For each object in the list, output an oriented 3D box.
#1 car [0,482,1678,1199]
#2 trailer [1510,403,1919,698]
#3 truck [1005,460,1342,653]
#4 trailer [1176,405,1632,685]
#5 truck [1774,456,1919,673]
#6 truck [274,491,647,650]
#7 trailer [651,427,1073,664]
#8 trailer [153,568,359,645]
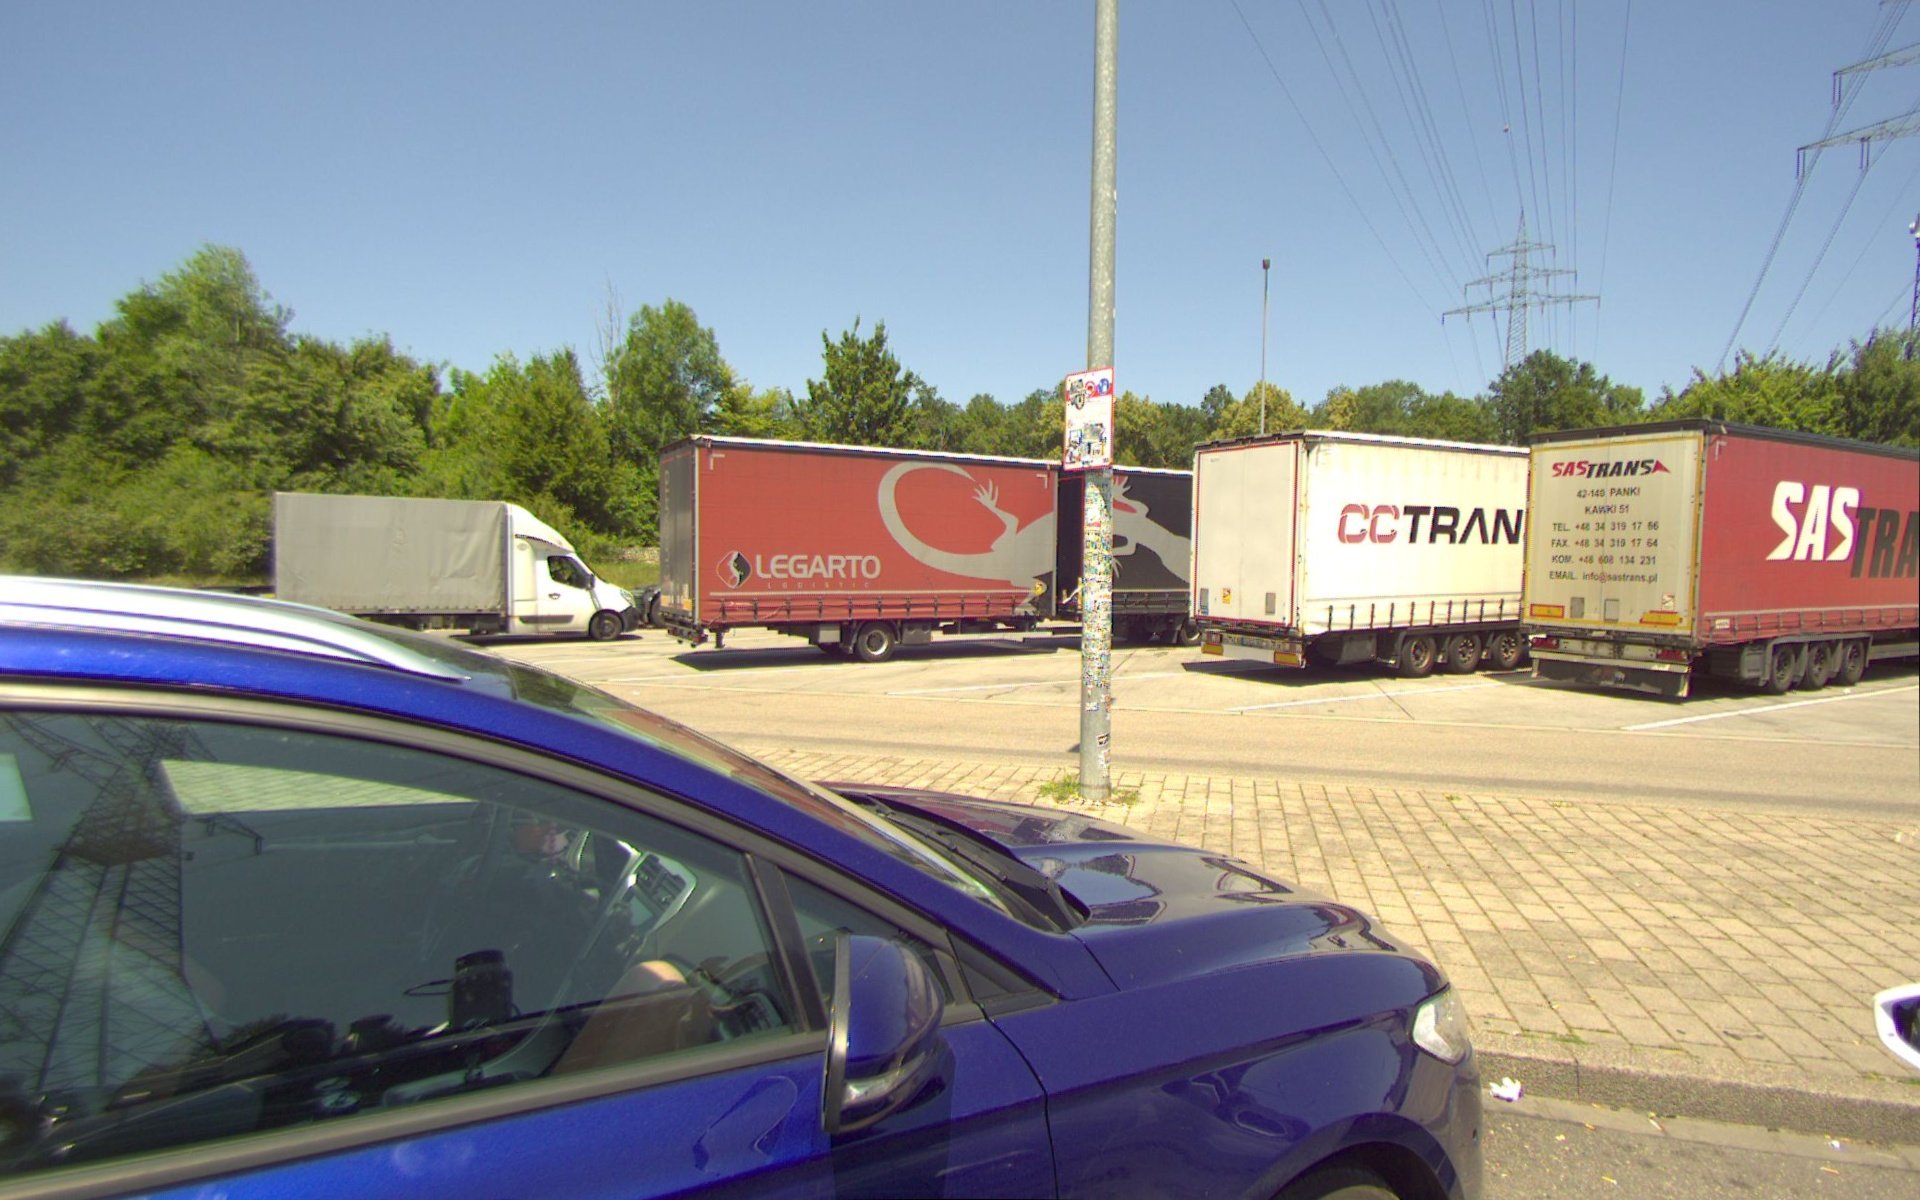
[{"bbox_3d":[-1.014,0.650,1.461,4.419,1.485,1.765,0,1,-32],"label":"car"},{"bbox_3d":[15.300,-0.673,18.505,13.129,4.112,2.736,0,1,-31],"label":"trailer"},{"bbox_3d":[5.399,-0.912,24.579,8.534,4.073,2.624,0,1,-30],"label":"truck"},{"bbox_3d":[8.709,-0.832,19.103,9.614,4.321,2.733,0,1,-29],"label":"trailer"},{"bbox_3d":[20.816,-0.677,21.767,6.749,4.136,2.729,0,1,-31],"label":"truck"},{"bbox_3d":[-11.107,-0.606,22.889,7.265,3.170,2.352,0,1,-30],"label":"truck"},{"bbox_3d":[-1.793,-0.920,20.307,8.158,4.027,2.651,0,1,-30],"label":"trailer"},{"bbox_3d":[-16.508,0.145,23.775,3.856,1.684,1.464,0,1,-30],"label":"trailer"}]
